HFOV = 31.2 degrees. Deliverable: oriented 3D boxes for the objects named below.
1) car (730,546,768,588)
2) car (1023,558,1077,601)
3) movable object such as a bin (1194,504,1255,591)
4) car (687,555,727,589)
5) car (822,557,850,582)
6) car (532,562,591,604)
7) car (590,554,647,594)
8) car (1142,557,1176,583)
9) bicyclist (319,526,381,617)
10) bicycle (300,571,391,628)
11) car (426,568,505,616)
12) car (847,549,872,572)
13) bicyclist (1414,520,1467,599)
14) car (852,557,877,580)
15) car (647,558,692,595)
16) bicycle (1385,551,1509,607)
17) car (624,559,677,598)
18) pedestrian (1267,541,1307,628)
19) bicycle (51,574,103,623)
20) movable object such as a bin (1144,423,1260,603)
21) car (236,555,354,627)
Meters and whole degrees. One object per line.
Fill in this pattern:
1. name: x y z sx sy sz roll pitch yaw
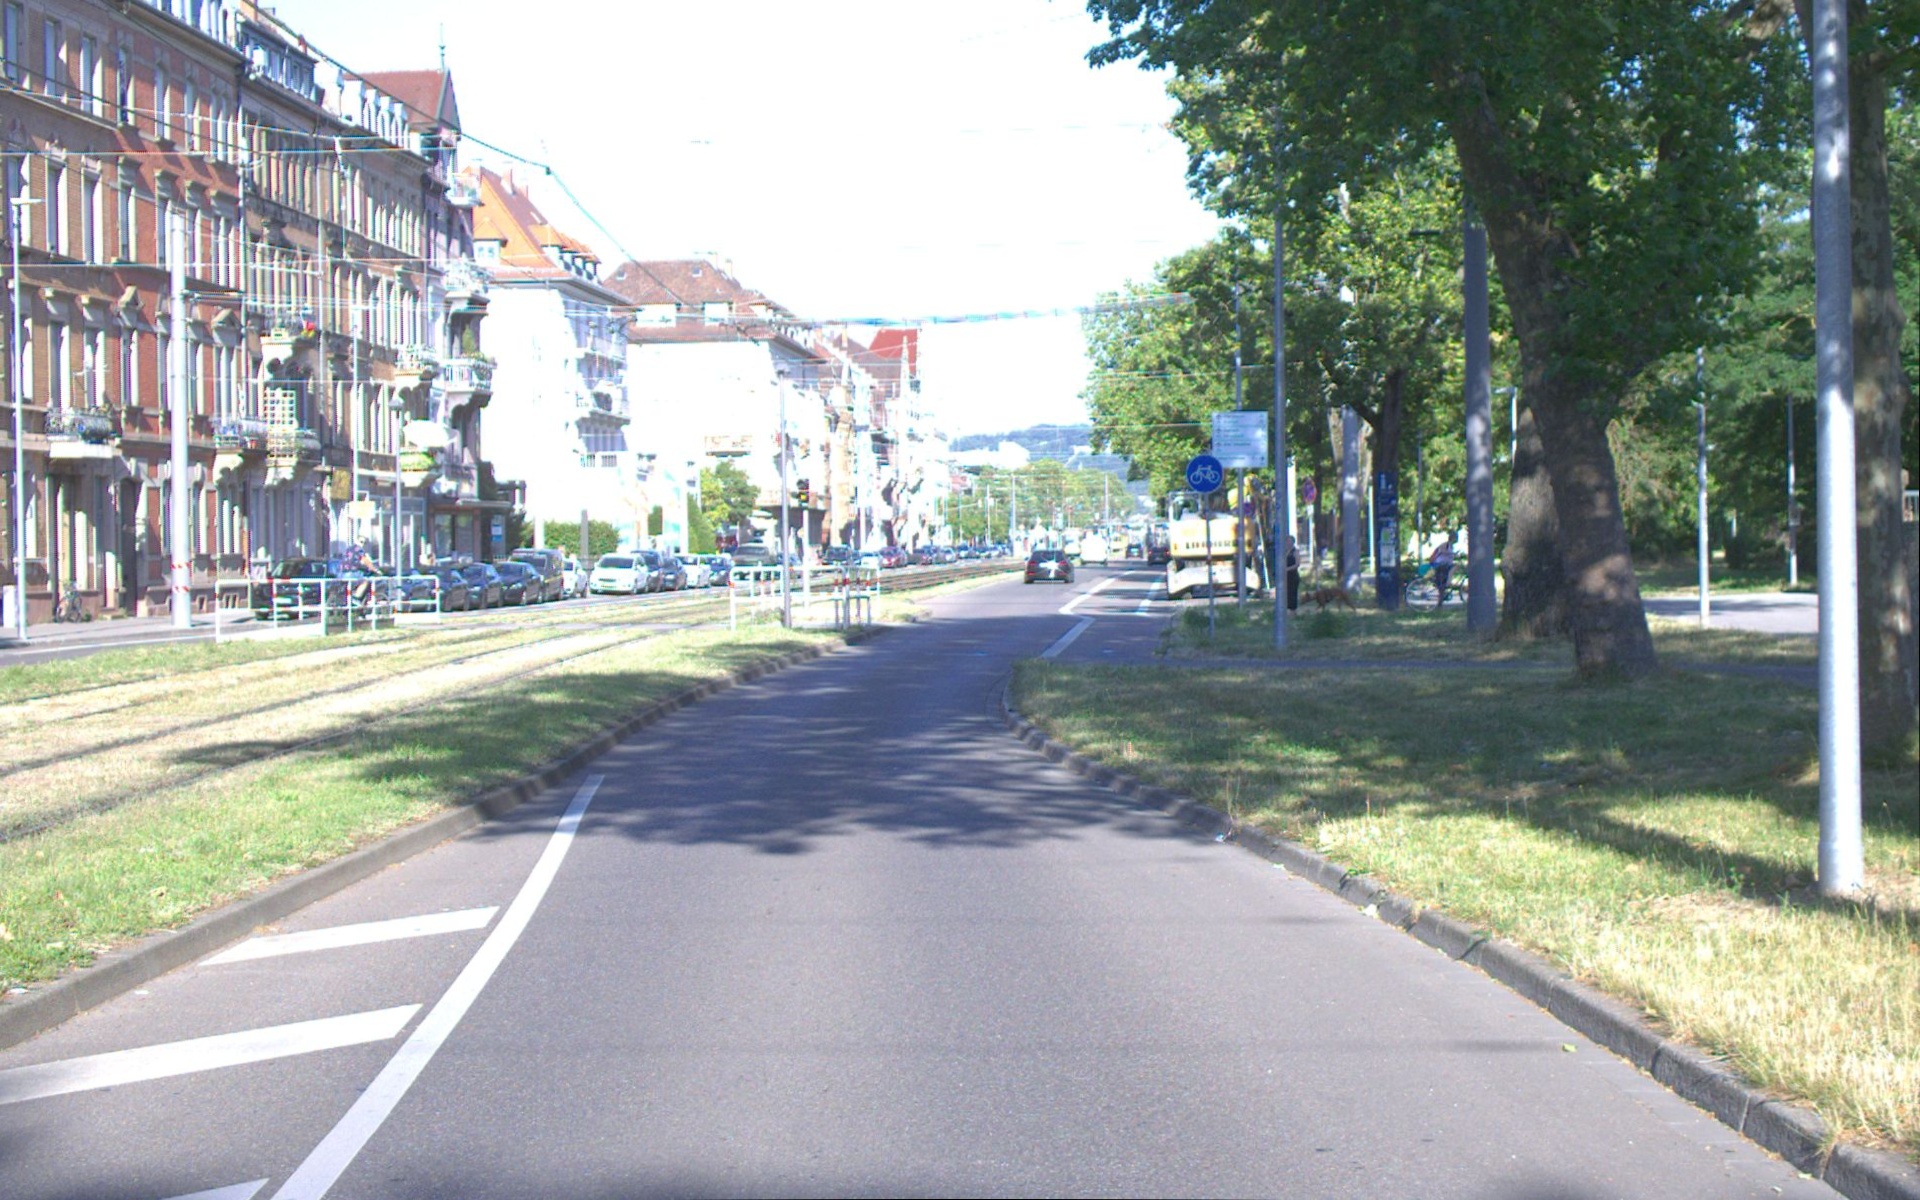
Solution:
1. car: -11.472 -1.805 187.168 1.658 2.132 3.525 1 2 3
2. car: 3.677 -0.832 139.282 1.994 1.678 4.000 1 1 4
3. movable object such as a bin: 9.717 -1.931 126.628 1.968 3.003 4.796 -3 1 3
4. car: -12.336 -1.367 167.954 1.527 1.555 3.223 1 2 3
5. car: -8.325 -2.072 230.664 1.527 1.555 3.223 1 2 3
6. car: -14.995 -0.639 129.475 1.562 1.452 3.665 1 2 3
7. car: -14.115 -1.091 142.282 1.741 1.555 3.767 1 2 3
8. car: 14.320 -2.165 247.669 1.993 1.853 4.001 1 1 -3
9. bicyclist: -11.614 -0.547 65.441 0.765 1.709 0.921 0 1 22
10. bicycle: -11.657 -0.013 65.307 0.765 1.037 1.957 0 1 22
11. car: -15.979 -0.287 111.189 1.776 1.401 3.909 1 2 3
12. car: -7.485 -2.954 256.447 1.527 1.605 3.223 1 2 3
13. bicyclist: 9.176 -0.776 65.671 0.903 1.491 0.766 -1 1 2
14. car: -6.890 -2.299 247.534 1.527 1.555 3.223 1 2 3
15. car: -12.870 -1.044 152.525 1.527 1.555 3.223 1 2 3
16. bicycle: 9.295 -0.403 65.685 2.260 1.037 0.766 -1 1 2
17. car: -13.219 -0.939 146.994 1.741 1.555 3.767 1 2 3
18. pedestrian: 6.379 -0.306 67.042 0.660 1.641 0.862 -3 0 4
19. bicycle: -21.536 -0.044 83.842 0.699 1.176 1.751 1 1 4
20. movable object such as a bin: 7.294 -2.600 104.571 3.087 5.071 8.891 -3 1 3
21. car: -17.762 -0.263 92.041 2.015 1.748 4.558 1 2 3
